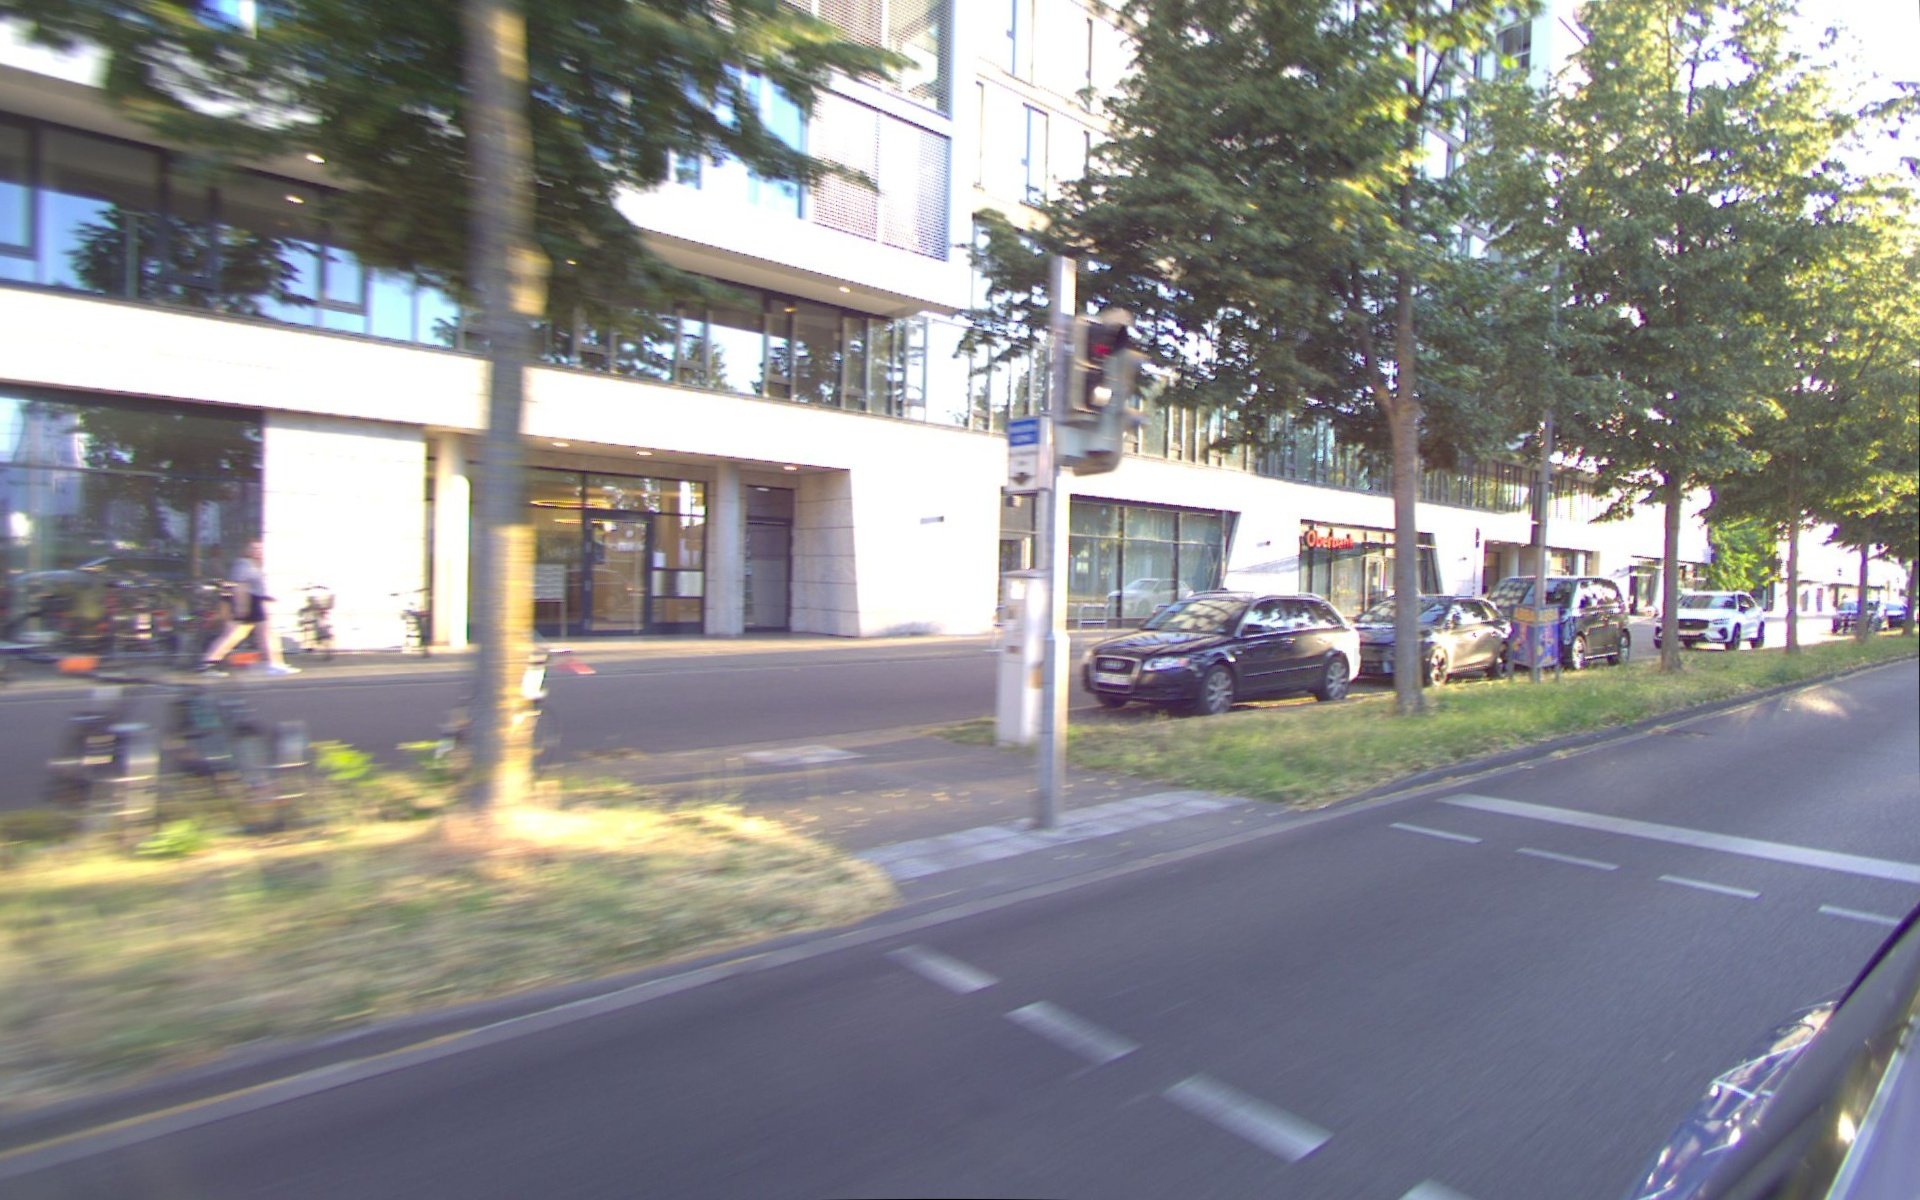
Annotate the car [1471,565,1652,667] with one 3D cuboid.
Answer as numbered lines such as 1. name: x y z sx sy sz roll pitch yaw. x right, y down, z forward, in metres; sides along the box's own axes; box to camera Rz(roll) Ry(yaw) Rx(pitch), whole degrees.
1. car: 12.630 0.256 21.124 4.586 1.875 1.996 -1 2 -43

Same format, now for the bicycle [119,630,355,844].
1. bicycle: -4.268 0.731 5.920 1.935 1.067 0.538 -2 -2 36

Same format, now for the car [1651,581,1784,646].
1. car: 21.821 0.325 29.090 4.791 1.663 1.998 0 2 -40

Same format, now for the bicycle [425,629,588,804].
1. bicycle: -3.266 0.752 7.184 0.535 1.067 1.945 0 -2 -40

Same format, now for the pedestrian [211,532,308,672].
1. pedestrian: -8.763 0.010 12.659 0.937 1.669 0.644 0 1 -41

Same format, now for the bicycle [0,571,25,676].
1. bicycle: -11.715 0.253 12.310 0.495 1.191 1.833 0 2 -43

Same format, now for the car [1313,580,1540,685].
1. car: 7.895 0.445 16.925 4.586 1.489 1.812 -1 2 -43

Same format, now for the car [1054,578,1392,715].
1. car: 3.484 0.465 12.970 4.563 1.428 1.873 -1 2 -40

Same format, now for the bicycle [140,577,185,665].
1. bicycle: -10.575 0.248 13.403 0.438 1.060 1.835 0 2 -39

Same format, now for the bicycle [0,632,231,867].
1. bicycle: -4.617 0.726 5.455 1.935 1.067 0.538 -2 -2 36

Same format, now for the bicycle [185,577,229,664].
1. bicycle: -10.229 0.245 13.734 0.396 1.070 1.835 0 2 -39

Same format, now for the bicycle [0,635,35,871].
1. bicycle: -5.218 0.729 5.123 1.938 1.067 0.537 -2 -2 40

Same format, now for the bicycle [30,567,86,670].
1. bicycle: -11.286 0.190 12.688 0.438 1.191 1.835 0 2 -39

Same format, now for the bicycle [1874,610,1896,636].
1. bicycle: 31.097 0.761 34.012 1.524 0.833 0.316 0 2 -40

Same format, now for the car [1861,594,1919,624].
1. car: 47.028 0.434 51.060 4.752 1.384 1.855 -1 2 -43

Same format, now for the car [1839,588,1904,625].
1. car: 40.275 0.271 44.708 3.694 1.534 1.712 0 0 -42

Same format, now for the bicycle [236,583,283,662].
1. bicycle: -9.776 0.283 14.108 0.396 0.999 1.835 0 2 -39

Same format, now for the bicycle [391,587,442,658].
1. bicycle: -8.343 0.322 15.514 0.396 0.999 1.579 0 2 -39

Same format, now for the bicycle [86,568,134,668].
1. bicycle: -10.934 0.192 13.045 0.438 1.191 1.835 0 2 -39

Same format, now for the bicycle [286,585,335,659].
1. bicycle: -9.367 0.287 14.579 0.396 0.964 1.748 0 2 -39
